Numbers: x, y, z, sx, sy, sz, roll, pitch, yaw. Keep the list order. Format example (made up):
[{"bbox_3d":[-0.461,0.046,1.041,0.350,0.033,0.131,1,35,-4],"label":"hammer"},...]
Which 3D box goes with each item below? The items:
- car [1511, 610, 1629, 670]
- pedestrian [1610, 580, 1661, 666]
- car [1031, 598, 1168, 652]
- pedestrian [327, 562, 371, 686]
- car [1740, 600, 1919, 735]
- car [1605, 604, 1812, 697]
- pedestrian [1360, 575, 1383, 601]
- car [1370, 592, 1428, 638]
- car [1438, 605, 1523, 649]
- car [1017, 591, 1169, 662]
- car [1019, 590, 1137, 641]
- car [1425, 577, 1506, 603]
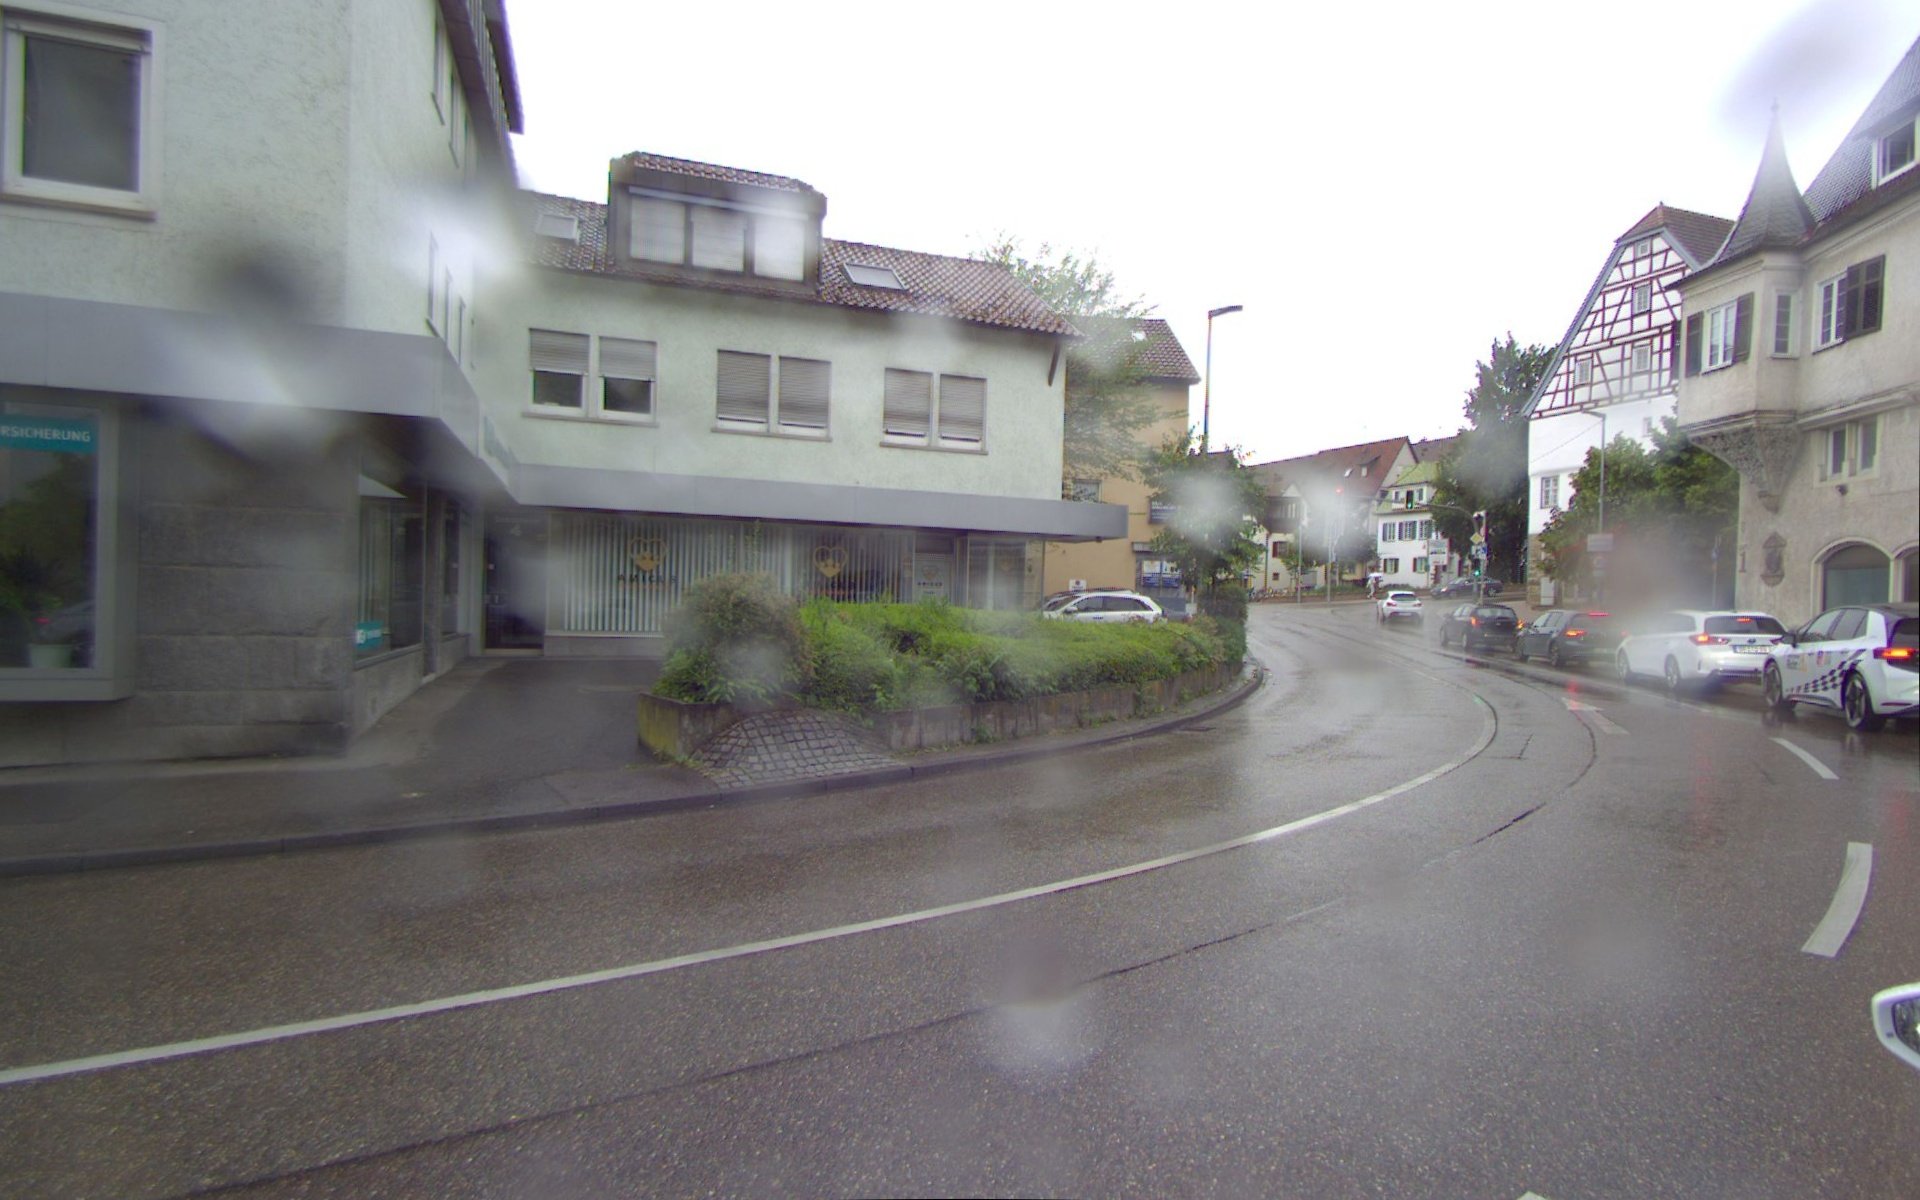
[{"bbox_3d":[15.661,0.979,25.992,1.493,1.380,3.769,0,1,13],"label":"car"},{"bbox_3d":[18.964,0.632,28.220,0.851,2.357,1.231,1,0,18],"label":"pedestrian"},{"bbox_3d":[3.878,0.682,28.255,3.472,1.475,1.710,0,1,-8],"label":"car"},{"bbox_3d":[-7.668,0.300,12.614,0.419,1.528,0.356,0,1,-22],"label":"pedestrian"},{"bbox_3d":[12.129,0.789,13.290,1.760,1.537,4.239,-1,-1,22],"label":"car"},{"bbox_3d":[13.906,0.856,18.970,1.755,1.485,4.165,0,1,16],"label":"car"},{"bbox_3d":[28.119,-0.830,68.674,1.128,1.765,1.004,1,0,-5],"label":"pedestrian"},{"bbox_3d":[21.132,0.685,48.489,1.940,2.118,3.962,0,1,14],"label":"car"},{"bbox_3d":[17.228,0.863,33.416,1.634,1.330,3.625,0,1,13],"label":"car"},{"bbox_3d":[3.294,0.630,25.205,3.472,1.708,1.710,0,1,-8],"label":"car"},{"bbox_3d":[3.808,0.496,32.707,3.472,1.597,1.710,0,1,-8],"label":"car"},{"bbox_3d":[32.594,-0.633,64.866,4.446,1.409,1.648,1,7,-8],"label":"car"}]
